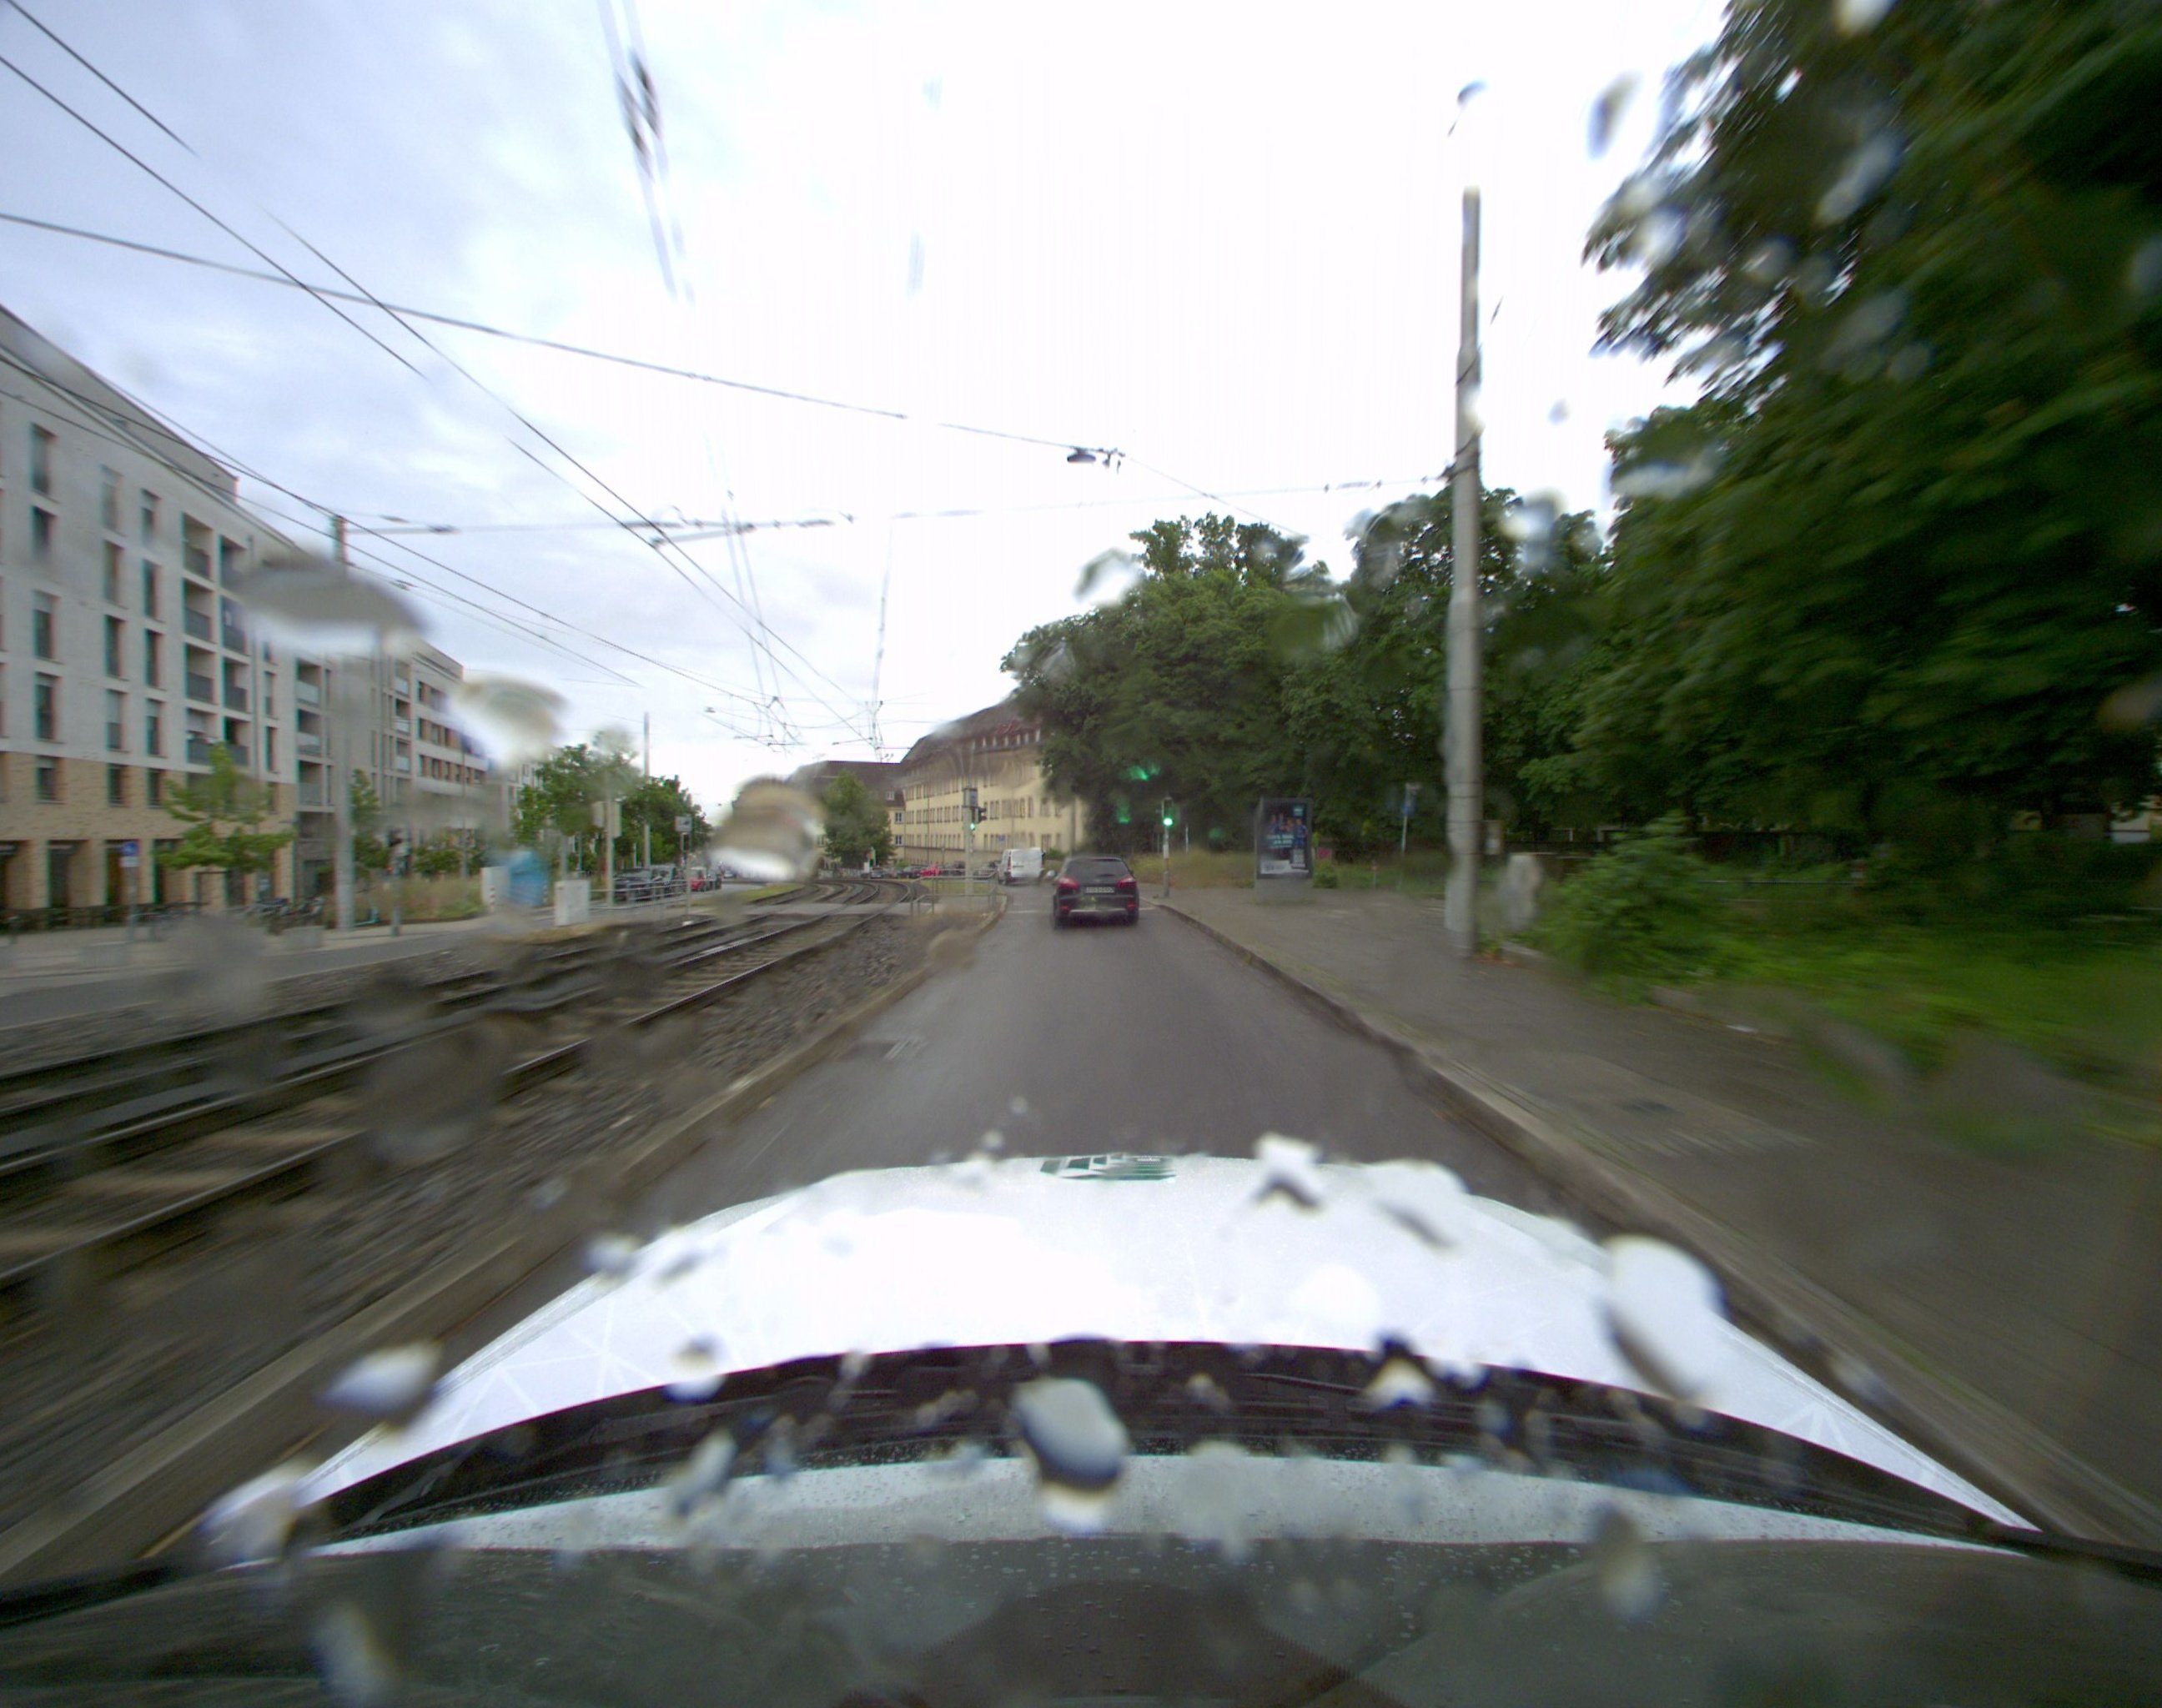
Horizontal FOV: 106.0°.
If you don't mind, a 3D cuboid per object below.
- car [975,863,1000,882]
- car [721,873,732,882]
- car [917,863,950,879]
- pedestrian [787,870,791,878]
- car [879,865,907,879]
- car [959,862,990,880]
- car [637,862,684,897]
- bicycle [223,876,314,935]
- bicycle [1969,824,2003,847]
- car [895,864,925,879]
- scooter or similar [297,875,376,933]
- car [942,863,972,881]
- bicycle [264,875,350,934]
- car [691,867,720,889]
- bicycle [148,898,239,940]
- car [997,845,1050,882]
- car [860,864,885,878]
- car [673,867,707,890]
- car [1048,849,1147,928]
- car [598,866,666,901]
[{"bbox_3d":[-7.839,1.573,68.280,1.601,1.465,2.705,-3,0,-16],"label":"car"},{"bbox_3d":[-77.638,5.117,178.337,2.003,1.772,3.968,-1,-1,-24],"label":"car"},{"bbox_3d":[-14.781,1.732,81.567,1.678,1.476,4.021,0,-2,-36],"label":"car"},{"bbox_3d":[-48.210,3.312,134.267,0.508,1.315,0.505,-1,-1,-35],"label":"pedestrian"},{"bbox_3d":[-21.004,1.998,90.803,1.678,1.476,4.064,-3,0,-34],"label":"car"},{"bbox_3d":[-9.424,1.497,71.888,1.544,1.416,3.611,-3,0,-27],"label":"car"},{"bbox_3d":[-23.000,1.382,44.652,1.585,1.859,4.306,1,-2,-18],"label":"car"},{"bbox_3d":[-23.839,1.480,23.967,0.675,1.596,2.351,-1,-1,-11],"label":"bicycle"},{"bbox_3d":[47.933,-0.971,43.140,1.713,1.140,0.621,-1,-1,-22],"label":"bicycle"},{"bbox_3d":[-18.024,1.819,85.879,1.677,1.476,4.412,-3,0,-32],"label":"car"},{"bbox_3d":[-22.168,1.439,24.312,0.600,1.596,2.351,-1,-1,-11],"label":"scooter or similar"},{"bbox_3d":[-11.782,1.706,76.932,1.674,1.573,3.822,-3,0,-26],"label":"car"},{"bbox_3d":[-22.909,1.458,24.167,0.675,1.596,2.351,-1,-1,-11],"label":"bicycle"},{"bbox_3d":[-29.367,1.884,63.749,1.738,1.644,4.499,-1,-1,-21],"label":"car"},{"bbox_3d":[-25.791,1.872,23.721,0.474,1.047,2.224,-2,0,-8],"label":"bicycle"},{"bbox_3d":[-3.083,0.489,42.745,2.139,1.745,4.200,-2,0,-13],"label":"car"},{"bbox_3d":[-24.491,1.982,95.683,1.677,1.524,4.067,-3,0,-32],"label":"car"},{"bbox_3d":[-25.915,1.611,54.015,1.471,1.531,2.916,1,-1,-14],"label":"car"},{"bbox_3d":[0.274,0.683,18.090,1.915,1.479,3.997,-2,0,-2],"label":"car"},{"bbox_3d":[-21.593,1.415,39.341,1.998,1.605,4.189,2,-2,-17],"label":"car"}]
